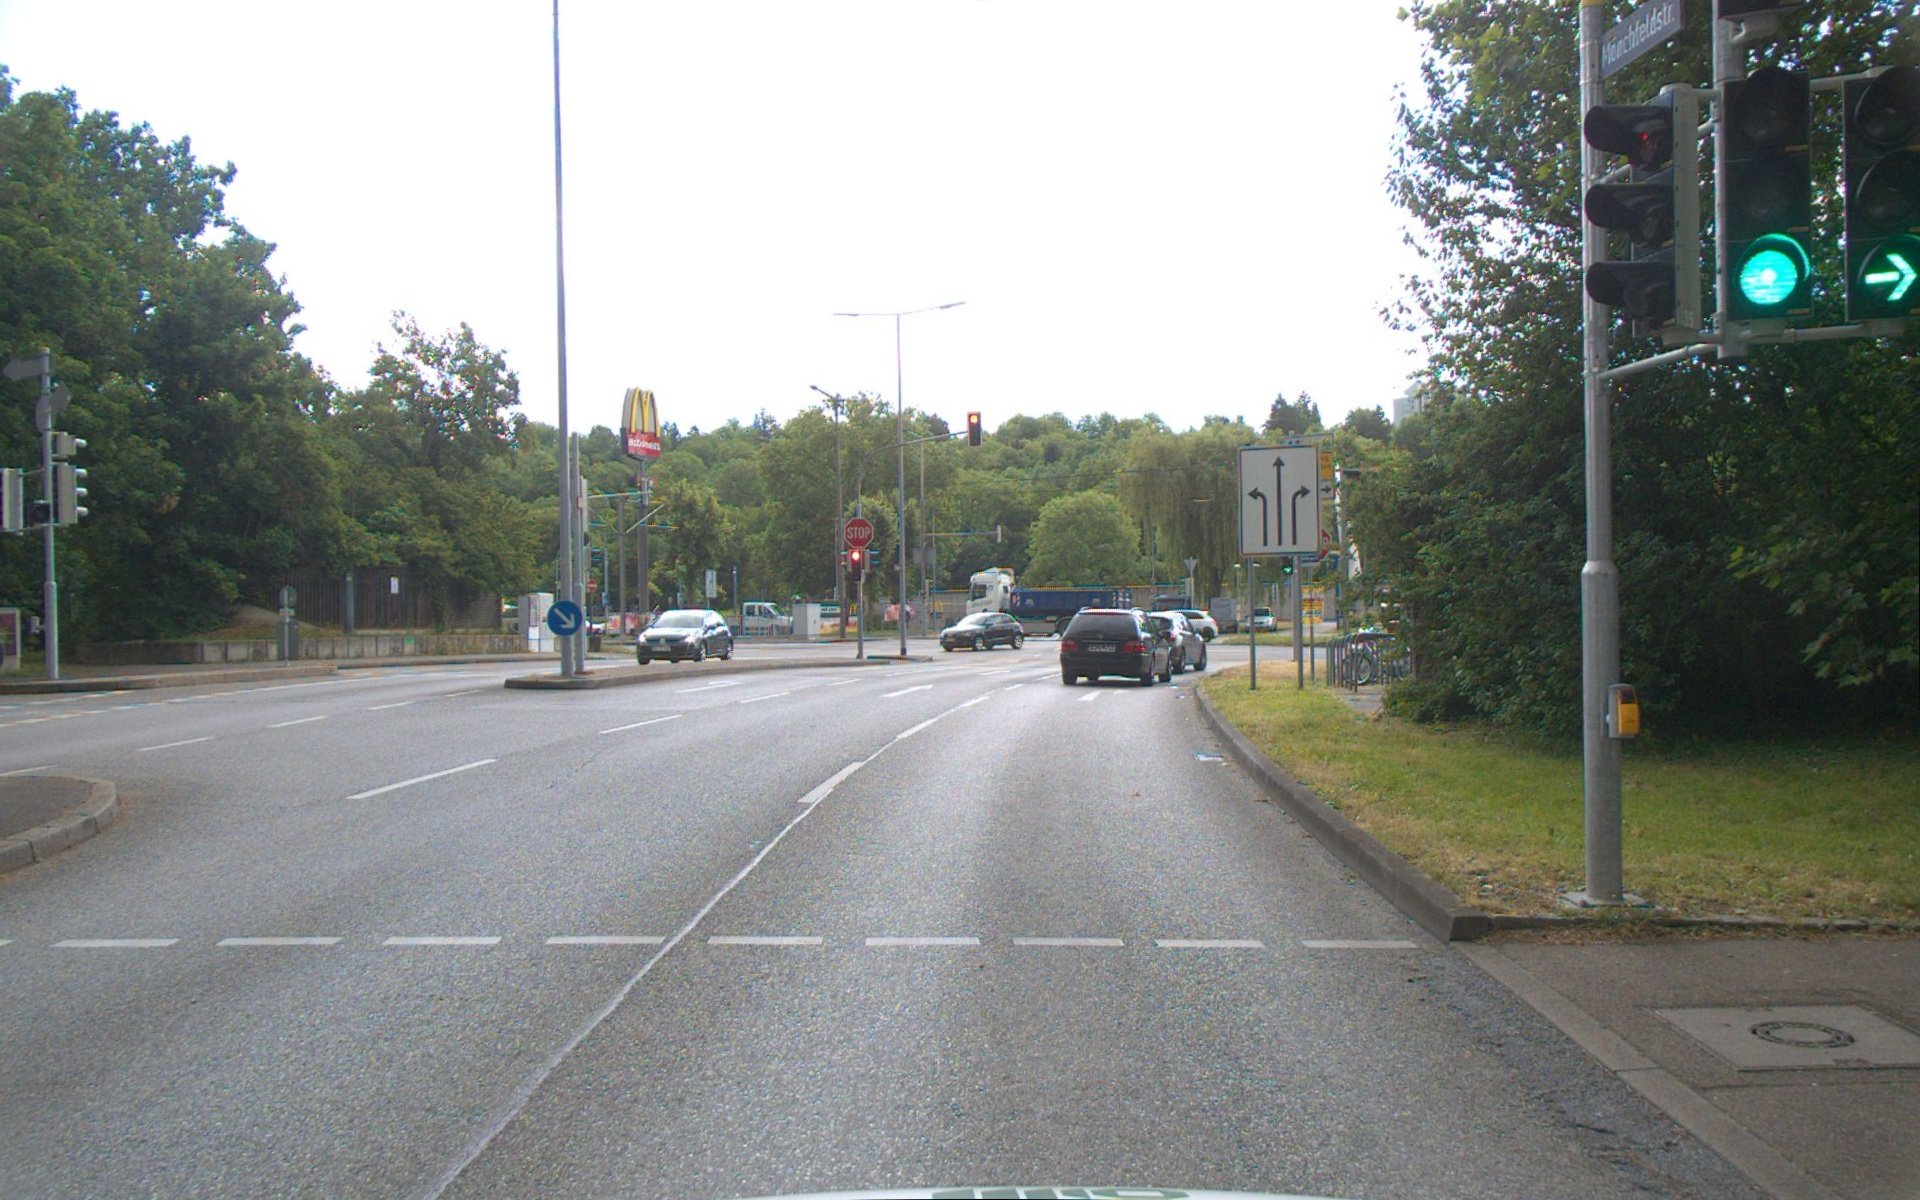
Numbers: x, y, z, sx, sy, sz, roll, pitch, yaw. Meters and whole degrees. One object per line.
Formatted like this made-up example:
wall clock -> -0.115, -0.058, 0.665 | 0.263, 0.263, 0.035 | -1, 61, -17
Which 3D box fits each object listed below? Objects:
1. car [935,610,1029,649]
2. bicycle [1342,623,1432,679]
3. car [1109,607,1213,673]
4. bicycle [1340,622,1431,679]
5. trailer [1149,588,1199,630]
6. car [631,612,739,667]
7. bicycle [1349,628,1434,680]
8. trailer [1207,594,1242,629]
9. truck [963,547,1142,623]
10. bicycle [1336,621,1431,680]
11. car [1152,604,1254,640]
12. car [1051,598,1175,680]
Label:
car -> 0.904, 1.143, 64.852 | 1.591, 1.441, 3.875 | -2, -1, 40
bicycle -> 8.766, 1.040, 33.998 | 1.740, 1.130, 0.580 | -1, -1, 11
car -> 5.177, 0.991, 42.250 | 1.691, 1.557, 4.149 | -2, -1, 20
bicycle -> 8.564, 1.013, 33.305 | 1.741, 1.130, 0.455 | -1, -2, 16
trailer -> 14.142, 0.639, 109.042 | 2.303, 2.628, 4.922 | -2, -2, 18
car -> -7.320, 1.016, 44.403 | 1.641, 1.390, 4.314 | 0, 0, 8
bicycle -> 9.339, 1.162, 35.840 | 1.740, 1.130, 0.554 | 0, -1, 11
trailer -> 17.630, 0.799, 110.063 | 1.951, 2.222, 4.003 | -2, -1, 14
truck -> 4.900, -0.725, 87.954 | 8.916, 3.651, 3.218 | -2, -2, 24
bicycle -> 8.345, 0.998, 32.613 | 1.745, 1.130, 0.425 | -2, -2, 30
car -> 10.750, 0.972, 73.133 | 4.216, 1.430, 1.595 | -1, -1, -21
car -> 3.156, 0.811, 33.315 | 1.783, 1.536, 4.577 | 0, -2, 14
